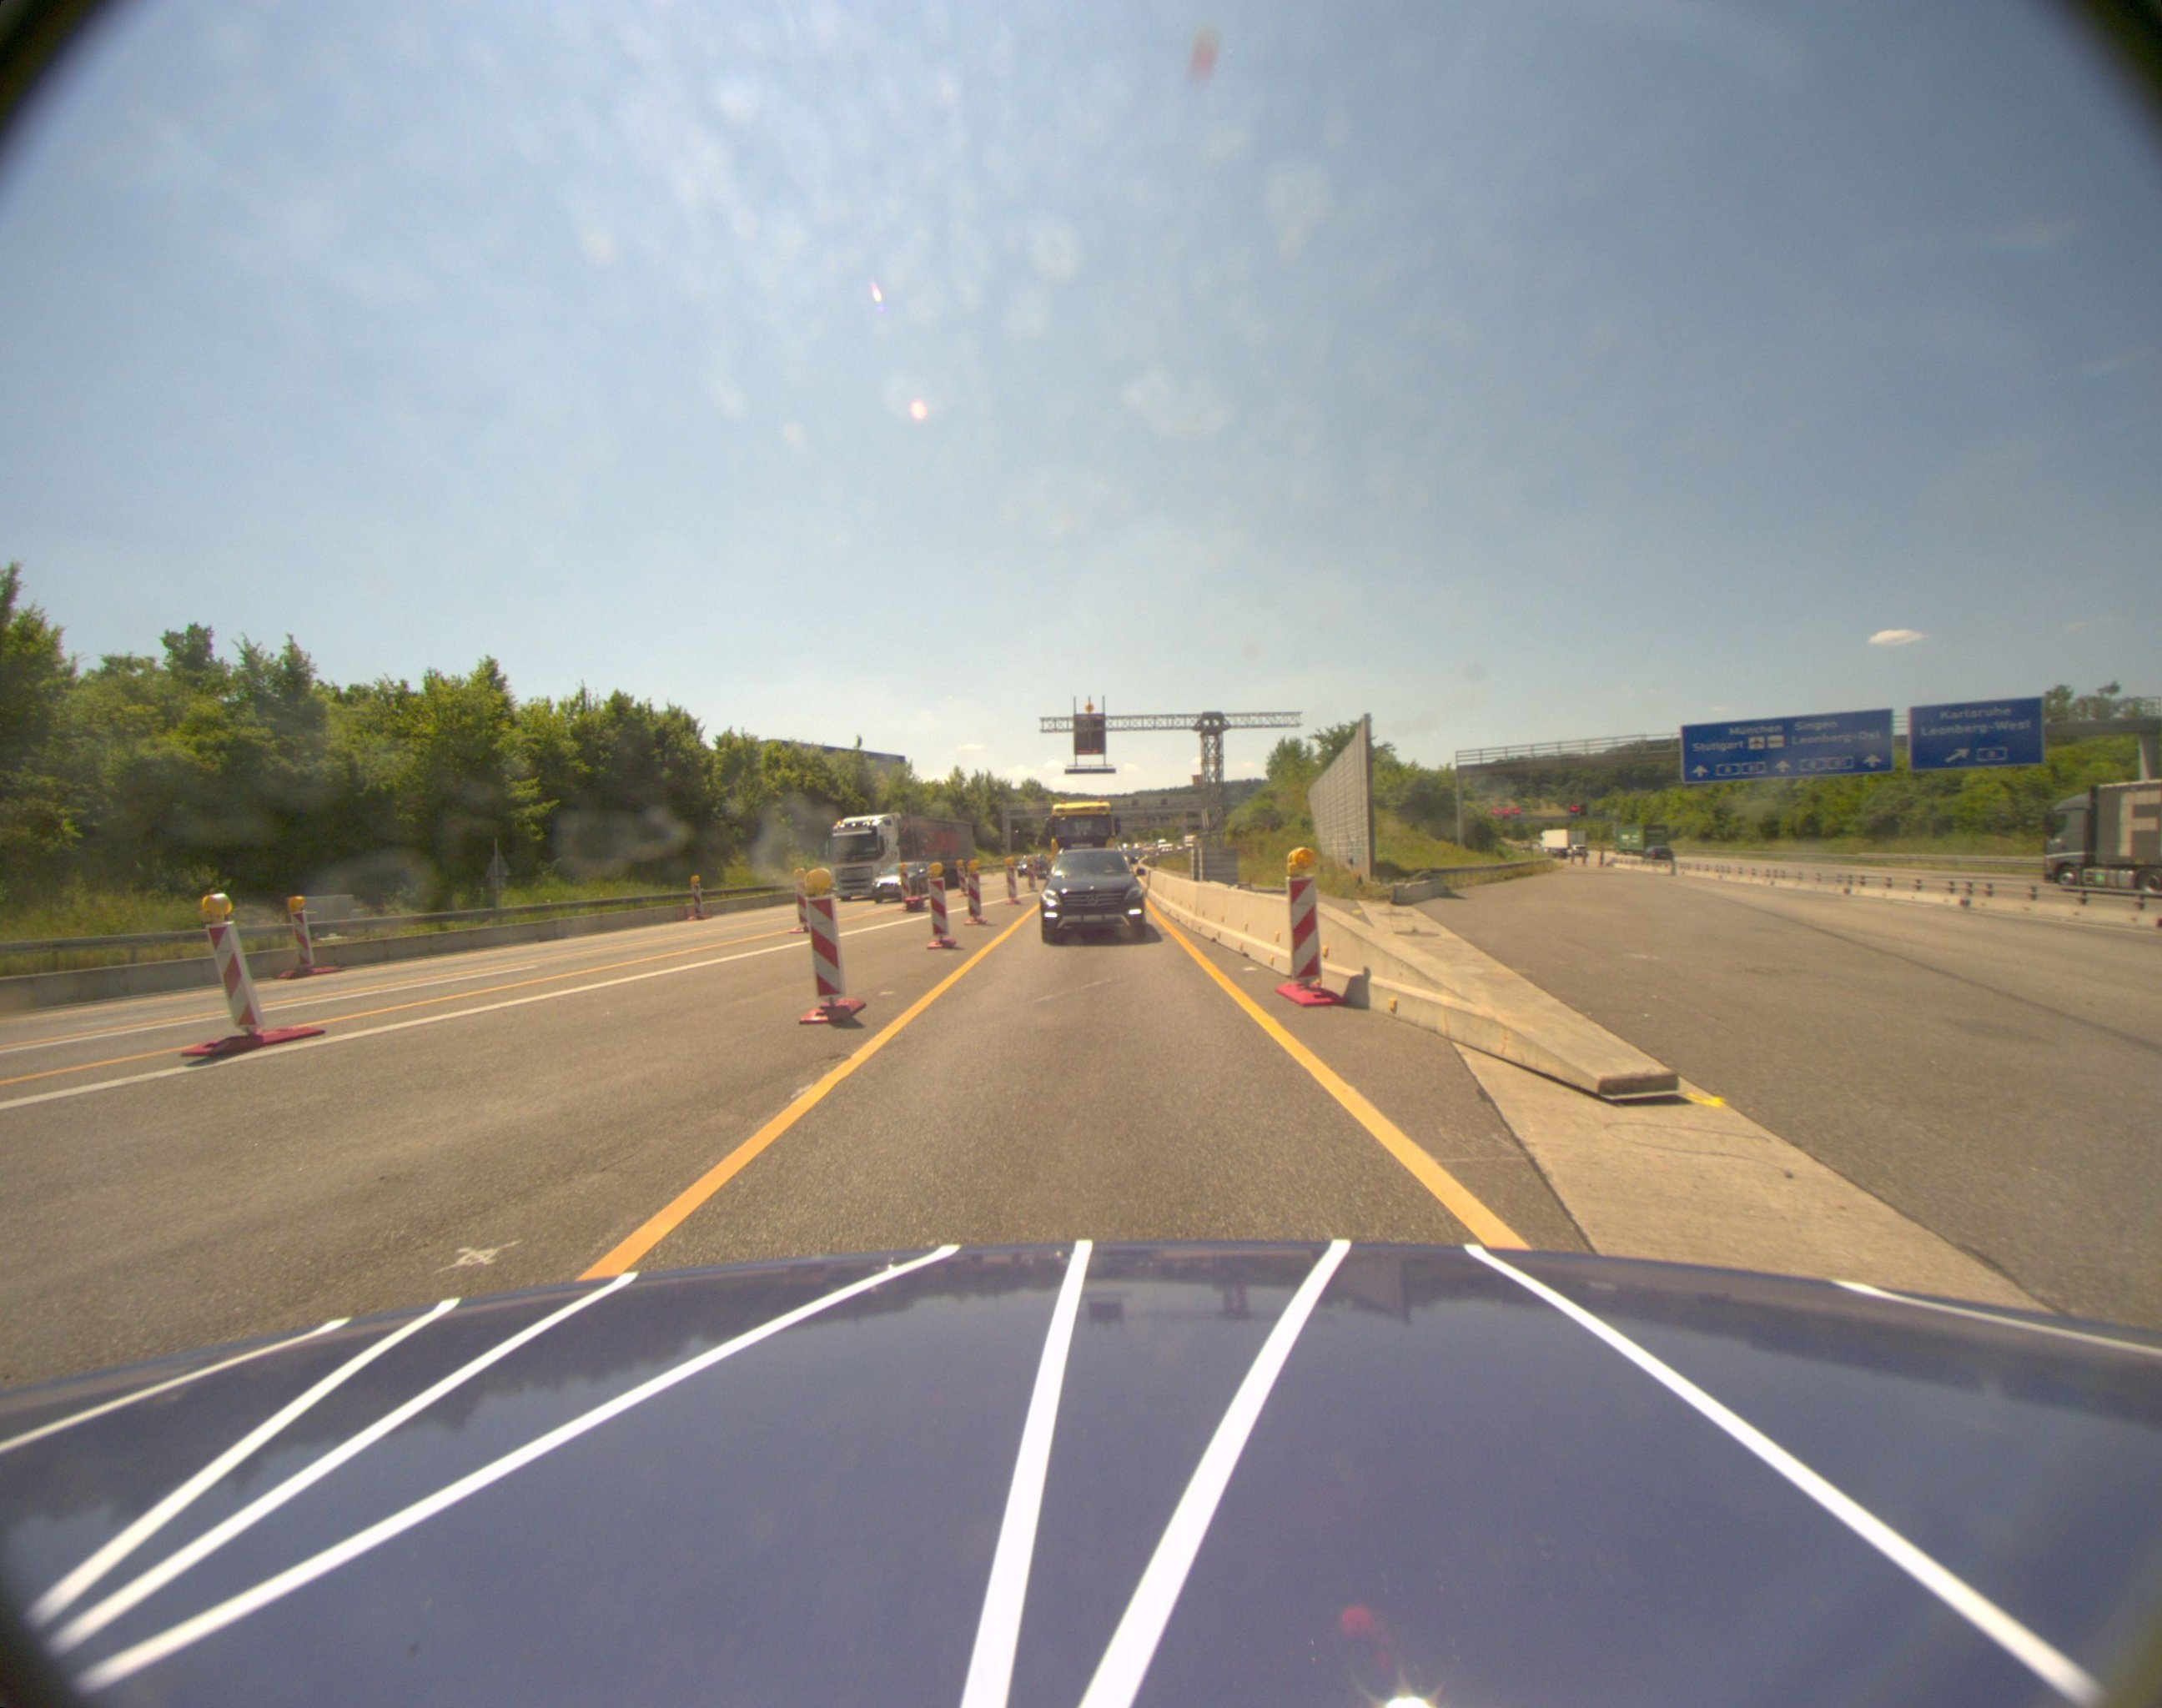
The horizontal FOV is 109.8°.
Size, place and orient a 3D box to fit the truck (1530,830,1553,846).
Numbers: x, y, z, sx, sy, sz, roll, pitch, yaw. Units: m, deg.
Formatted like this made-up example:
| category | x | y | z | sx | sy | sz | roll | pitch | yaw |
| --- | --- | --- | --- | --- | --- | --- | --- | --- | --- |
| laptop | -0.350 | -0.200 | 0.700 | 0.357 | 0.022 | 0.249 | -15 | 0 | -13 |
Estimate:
| category | x | y | z | sx | sy | sz | roll | pitch | yaw |
| --- | --- | --- | --- | --- | --- | --- | --- | --- | --- |
| truck | 125.783 | -4.396 | 207.645 | 3.549 | 4.246 | 13.929 | -2 | 1 | 24 |

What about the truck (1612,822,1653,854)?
| category | x | y | z | sx | sy | sz | roll | pitch | yaw |
| --- | --- | --- | --- | --- | --- | --- | --- | --- | --- |
| truck | 79.041 | -2.289 | 108.992 | 3.549 | 4.246 | 5.787 | -2 | 1 | 24 |

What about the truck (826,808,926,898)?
| category | x | y | z | sx | sy | sz | roll | pitch | yaw |
| --- | --- | --- | --- | --- | --- | --- | --- | --- | --- |
| truck | -9.850 | -0.065 | 37.172 | 2.532 | 3.927 | 5.601 | -3 | 0 | 7 |

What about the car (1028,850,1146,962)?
| category | x | y | z | sx | sy | sz | roll | pitch | yaw |
| --- | --- | --- | --- | --- | --- | --- | --- | --- | --- |
| car | 0.221 | 0.827 | 14.470 | 1.819 | 1.686 | 4.494 | -3 | 1 | 3 |

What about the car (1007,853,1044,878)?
| category | x | y | z | sx | sy | sz | roll | pitch | yaw |
| --- | --- | --- | --- | --- | --- | --- | --- | --- | --- |
| car | -4.282 | 0.837 | 58.876 | 1.818 | 1.685 | 4.495 | -3 | 1 | 8 |

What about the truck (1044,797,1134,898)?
| category | x | y | z | sx | sy | sz | roll | pitch | yaw |
| --- | --- | --- | --- | --- | --- | --- | --- | --- | --- |
| truck | 0.282 | -0.238 | 32.294 | 3.230 | 3.639 | 7.083 | -3 | 0 | 0 |

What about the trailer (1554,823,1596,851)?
| category | x | y | z | sx | sy | sz | roll | pitch | yaw |
| --- | --- | --- | --- | --- | --- | --- | --- | --- | --- |
| trailer | 80.181 | -2.785 | 123.677 | 3.549 | 4.246 | 13.929 | -2 | 1 | 24 |

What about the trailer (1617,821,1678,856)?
| category | x | y | z | sx | sy | sz | roll | pitch | yaw |
| --- | --- | --- | --- | --- | --- | --- | --- | --- | --- |
| trailer | 76.251 | -2.115 | 102.675 | 3.549 | 4.246 | 13.929 | -2 | 1 | 24 |

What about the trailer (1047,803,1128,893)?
| category | x | y | z | sx | sy | sz | roll | pitch | yaw |
| --- | --- | --- | --- | --- | --- | --- | --- | --- | --- |
| trailer | 0.218 | -0.210 | 40.898 | 3.237 | 3.645 | 17.421 | -3 | 0 | -1 |

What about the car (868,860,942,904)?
| category | x | y | z | sx | sy | sz | roll | pitch | yaw |
| --- | --- | --- | --- | --- | --- | --- | --- | --- | --- |
| car | -7.289 | 1.116 | 31.877 | 1.709 | 1.544 | 4.032 | -3 | 1 | 6 |

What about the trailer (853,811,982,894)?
| category | x | y | z | sx | sy | sz | roll | pitch | yaw |
| --- | --- | --- | --- | --- | --- | --- | --- | --- | --- |
| trailer | -8.917 | -0.104 | 44.138 | 2.545 | 3.929 | 13.875 | -3 | 0 | 8 |

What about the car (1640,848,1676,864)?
| category | x | y | z | sx | sy | sz | roll | pitch | yaw |
| --- | --- | --- | --- | --- | --- | --- | --- | --- | --- |
| car | 54.048 | 0.161 | 71.221 | 1.717 | 1.482 | 3.693 | -1 | 1 | 20 |

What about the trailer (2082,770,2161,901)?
| category | x | y | z | sx | sy | sz | roll | pitch | yaw |
| --- | --- | --- | --- | --- | --- | --- | --- | --- | --- |
| trailer | 35.011 | -0.557 | 21.020 | 2.437 | 4.272 | 13.830 | -1 | 1 | 24 |

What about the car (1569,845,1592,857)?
| category | x | y | z | sx | sy | sz | roll | pitch | yaw |
| --- | --- | --- | --- | --- | --- | --- | --- | --- | --- |
| car | 67.674 | -0.412 | 102.918 | 1.717 | 1.614 | 4.176 | -1 | 1 | 21 |

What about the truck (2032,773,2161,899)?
| category | x | y | z | sx | sy | sz | roll | pitch | yaw |
| --- | --- | --- | --- | --- | --- | --- | --- | --- | --- |
| truck | 37.833 | -0.648 | 27.402 | 2.433 | 4.245 | 4.846 | -1 | 1 | 24 |
